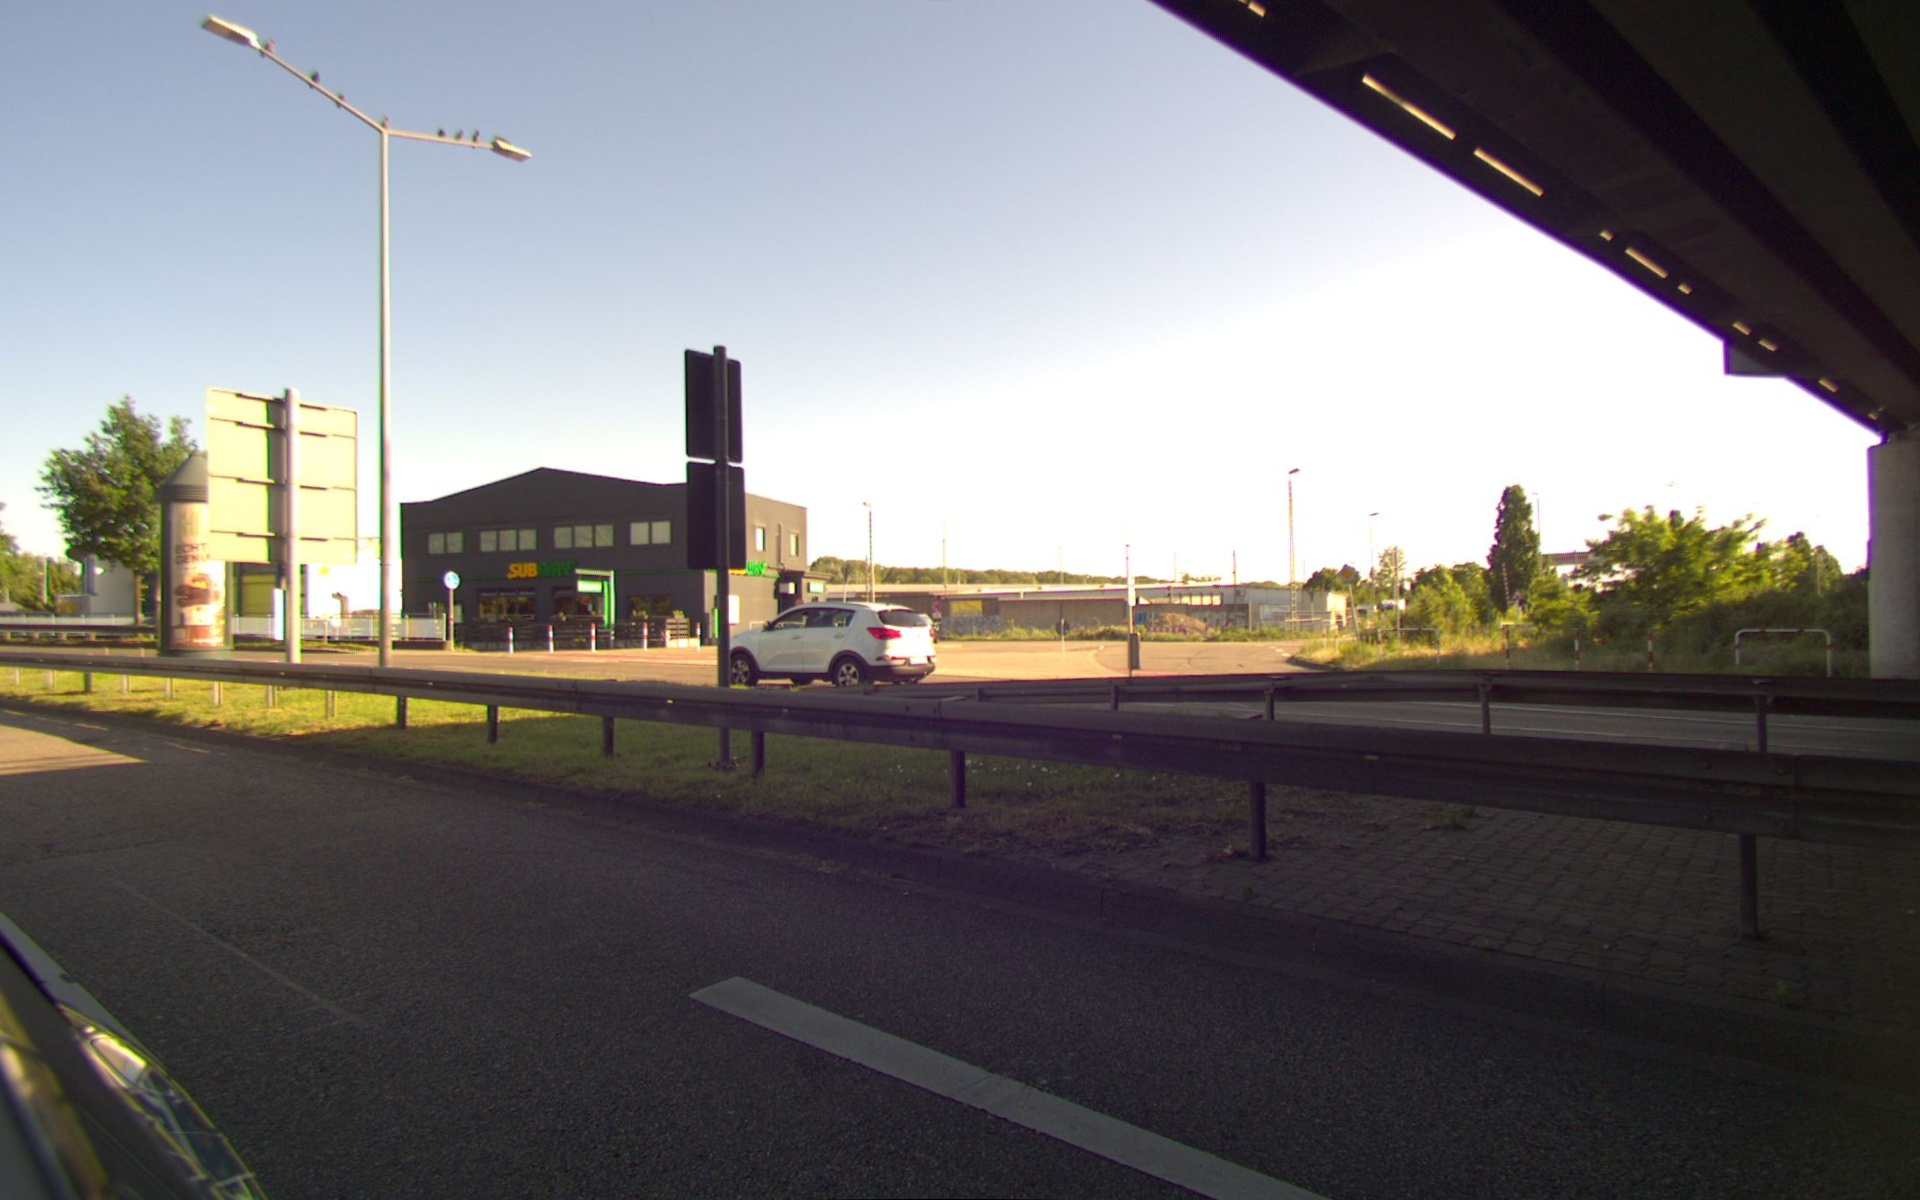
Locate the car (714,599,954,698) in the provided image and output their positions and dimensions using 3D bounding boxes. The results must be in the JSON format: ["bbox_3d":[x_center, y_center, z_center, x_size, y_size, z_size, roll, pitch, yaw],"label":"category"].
[{"bbox_3d":[-2.361,0.830,18.523,4.286,1.619,1.785,-1,-1,35],"label":"car"}]

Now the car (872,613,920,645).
[{"bbox_3d":[-3.183,1.436,50.872,1.859,1.453,3.994,-1,0,5],"label":"car"}]
